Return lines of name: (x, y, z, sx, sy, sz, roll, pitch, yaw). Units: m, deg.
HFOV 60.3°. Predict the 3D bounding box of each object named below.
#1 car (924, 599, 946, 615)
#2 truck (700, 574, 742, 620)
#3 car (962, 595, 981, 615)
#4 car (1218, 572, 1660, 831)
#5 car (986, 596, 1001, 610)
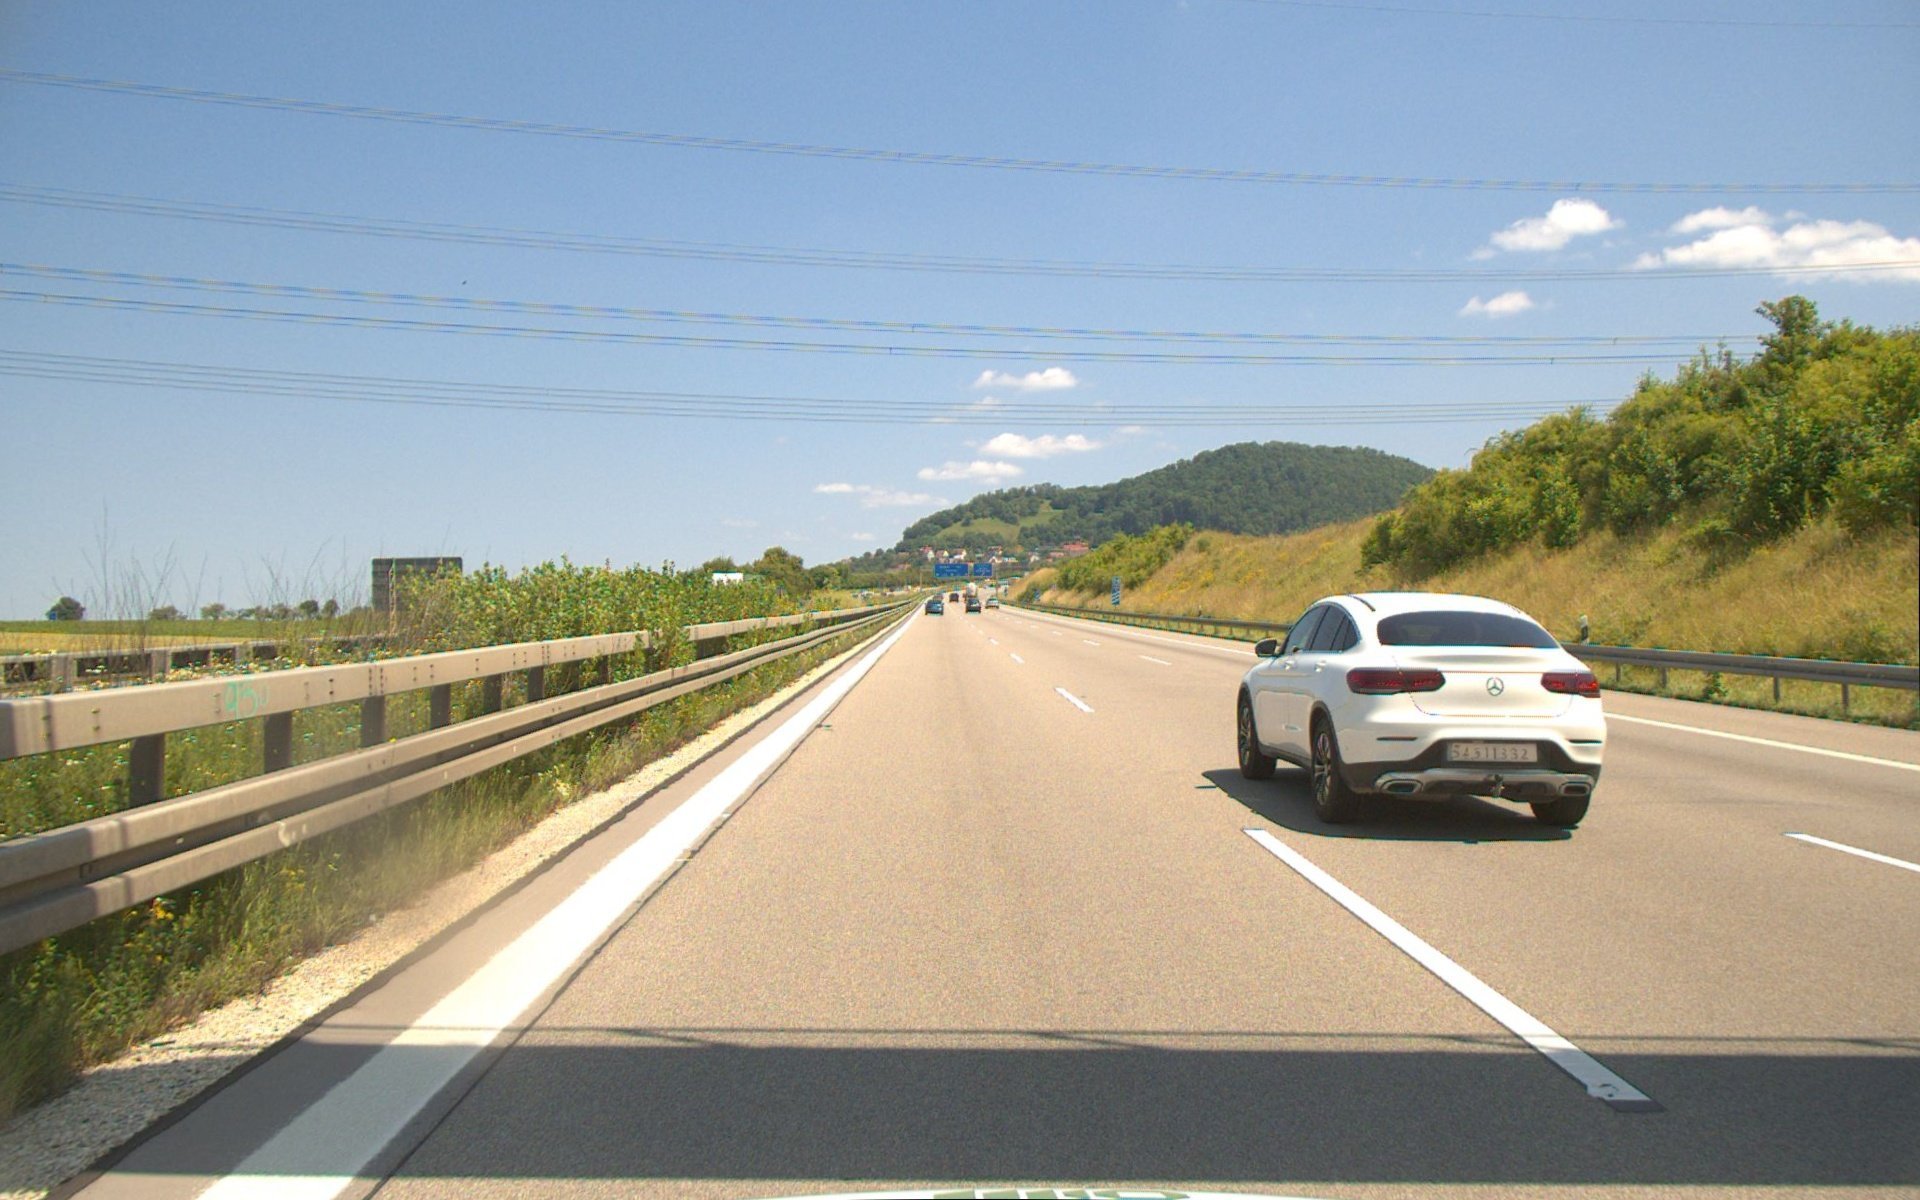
car: (-2.280, 0.639, 150.566, 1.953, 1.413, 3.999, 1, -1, 0)
truck: (-19.448, -0.197, 134.984, 2.668, 3.621, 5.898, 1, -1, -2)
car: (1.195, 0.535, 172.642, 1.953, 2.049, 3.999, 1, -1, 0)
car: (3.448, 0.667, 13.098, 1.875, 1.608, 5.229, 1, -1, -1)
car: (4.608, 0.452, 226.420, 1.953, 1.850, 4.000, -1, 0, 0)
